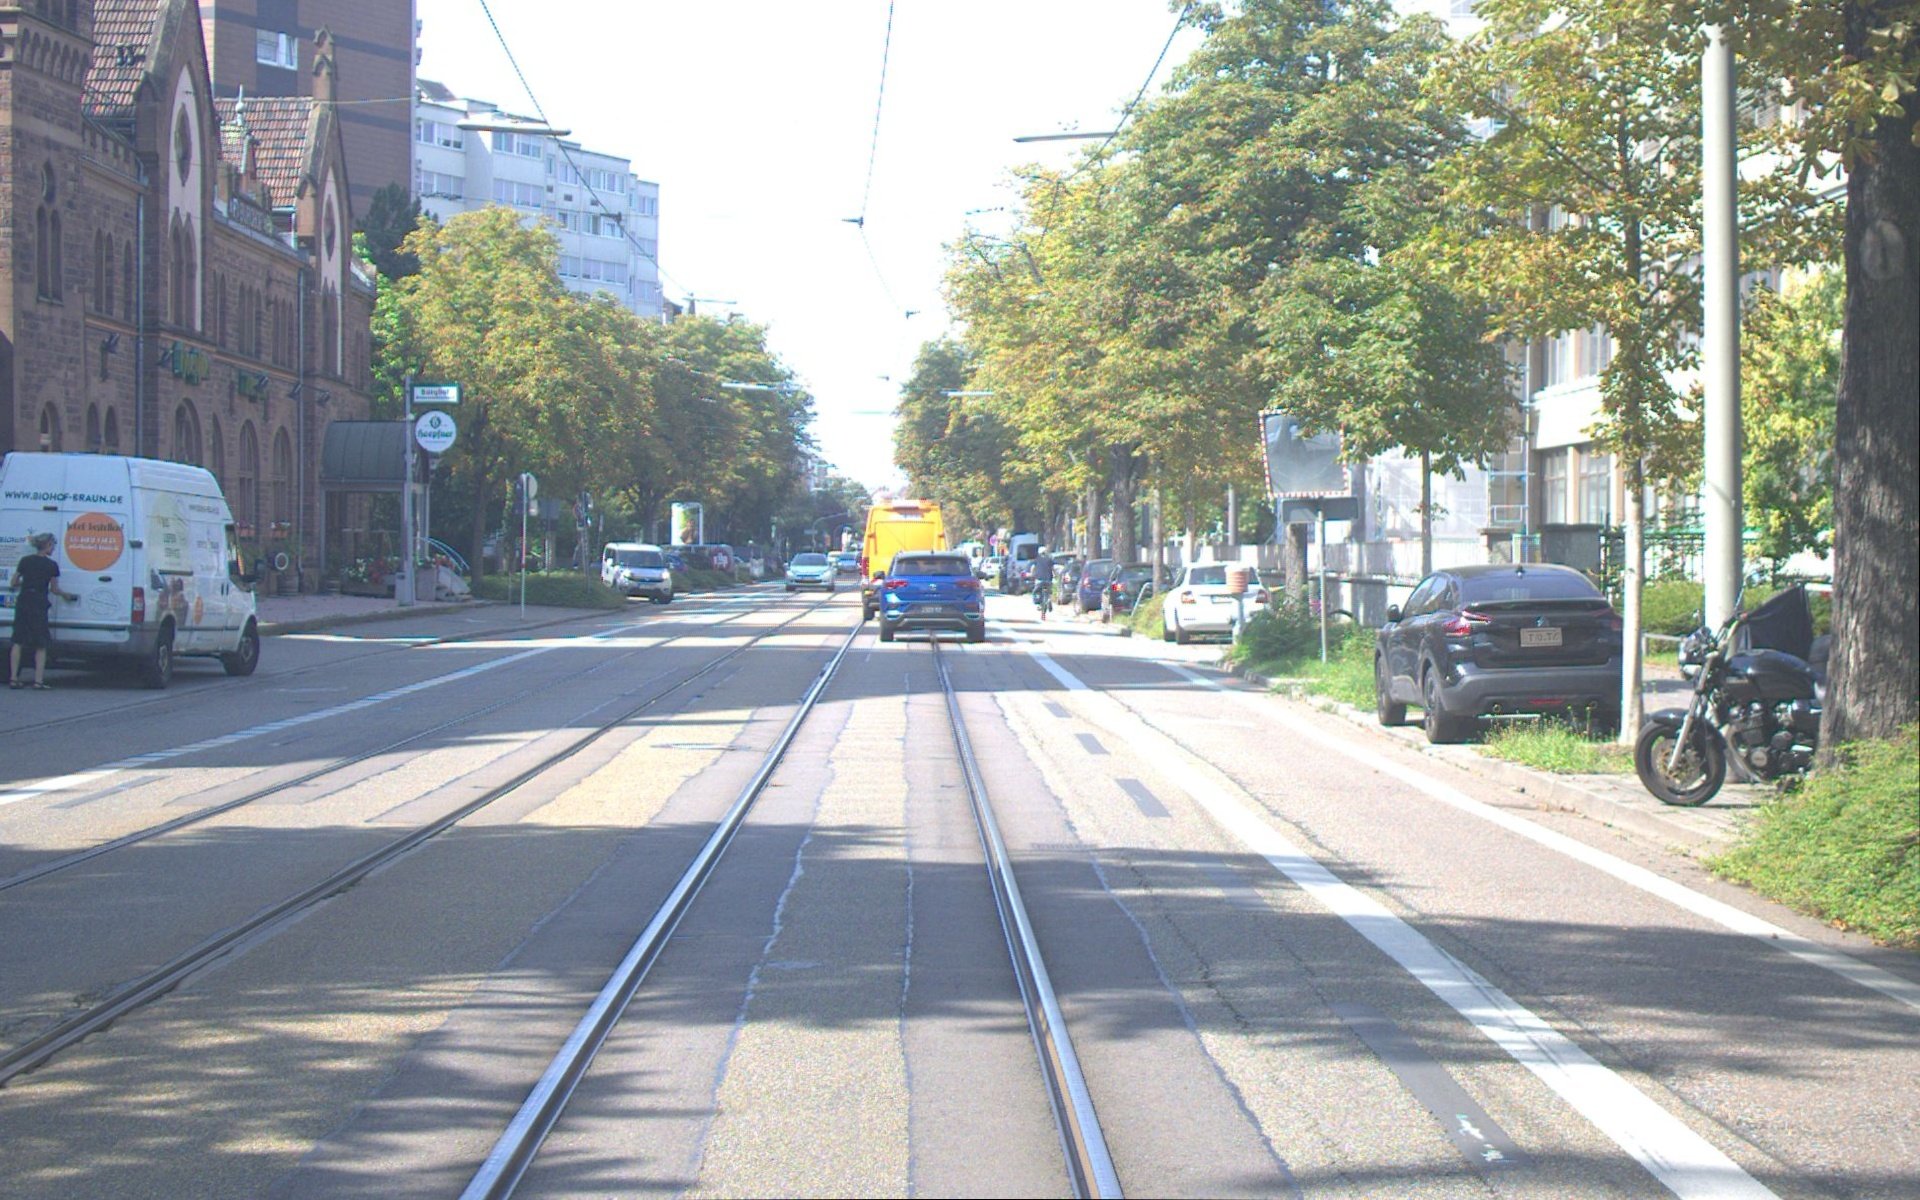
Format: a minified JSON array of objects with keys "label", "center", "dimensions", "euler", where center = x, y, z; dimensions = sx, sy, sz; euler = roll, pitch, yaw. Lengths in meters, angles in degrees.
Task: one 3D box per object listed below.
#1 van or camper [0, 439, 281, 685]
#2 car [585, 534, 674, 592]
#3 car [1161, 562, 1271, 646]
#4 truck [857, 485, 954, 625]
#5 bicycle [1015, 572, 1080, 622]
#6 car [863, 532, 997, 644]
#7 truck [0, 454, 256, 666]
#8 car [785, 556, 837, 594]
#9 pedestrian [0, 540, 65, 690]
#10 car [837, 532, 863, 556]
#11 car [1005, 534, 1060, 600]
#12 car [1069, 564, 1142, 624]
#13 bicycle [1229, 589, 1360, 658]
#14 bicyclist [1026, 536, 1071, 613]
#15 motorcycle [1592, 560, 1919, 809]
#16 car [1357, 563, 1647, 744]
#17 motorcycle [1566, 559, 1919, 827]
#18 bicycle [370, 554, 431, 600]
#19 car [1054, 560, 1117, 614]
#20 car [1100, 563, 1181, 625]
[{"label":"van or camper","center":[-9.708,-0.456,40.564],"dimensions":[2.113,2.666,5.955],"euler":[1,1,1]},{"label":"car","center":[-10.496,-1.175,109.005],"dimensions":[1.746,1.790,4.001],"euler":[1,1,-21]},{"label":"car","center":[4.606,0.053,62.238],"dimensions":[1.659,1.476,4.217],"euler":[0,0,0]},{"label":"truck","center":[-1.237,-1.036,79.445],"dimensions":[2.135,3.114,6.085],"euler":[0,1,-1]},{"label":"bicycle","center":[2.080,-0.089,82.649],"dimensions":[1.401,1.130,4.000],"euler":[1,1,-1]},{"label":"car","center":[-0.581,-0.236,59.989],"dimensions":[2.135,1.852,5.569],"euler":[0,1,-2]},{"label":"truck","center":[-12.752,-0.653,45.395],"dimensions":[6.321,2.529,2.130],"euler":[4,2,4]},{"label":"car","center":[-5.867,-1.000,135.729],"dimensions":[1.847,1.486,4.867],"euler":[0,1,0]},{"label":"pedestrian","center":[-10.045,0.158,37.170],"dimensions":[0.497,1.593,0.552],"euler":[1,1,15]},{"label":"car","center":[-7.882,-4.000,246.137],"dimensions":[1.780,1.678,4.347],"euler":[1,1,-2]},{"label":"car","center":[3.074,-1.405,146.465],"dimensions":[1.993,2.746,5.762],"euler":[1,1,-2]},{"label":"car","center":[3.872,-0.177,92.168],"dimensions":[1.743,1.550,4.217],"euler":[0,0,0]},{"label":"bicycle","center":[4.814,0.330,49.481],"dimensions":[1.812,0.955,0.558],"euler":[1,1,-1]},{"label":"bicyclist","center":[2.122,-0.614,82.663],"dimensions":[1.031,1.806,1.016],"euler":[1,1,-1]},{"label":"motorcycle","center":[5.204,0.511,22.394],"dimensions":[0.850,1.511,2.456],"euler":[1,1,-25]},{"label":"car","center":[4.847,0.428,31.358],"dimensions":[1.755,1.510,4.610],"euler":[-1,1,-2]},{"label":"motorcycle","center":[4.960,0.529,20.692],"dimensions":[2.452,1.511,0.851],"euler":[1,1,38]},{"label":"bicycle","center":[-14.372,-0.592,88.352],"dimensions":[1.451,1.089,0.399],"euler":[4,0,-4]},{"label":"car","center":[3.827,-0.419,105.266],"dimensions":[1.633,1.579,4.189],"euler":[1,1,-2]},{"label":"car","center":[4.208,-0.147,80.619],"dimensions":[1.659,1.403,4.217],"euler":[0,0,0]}]
